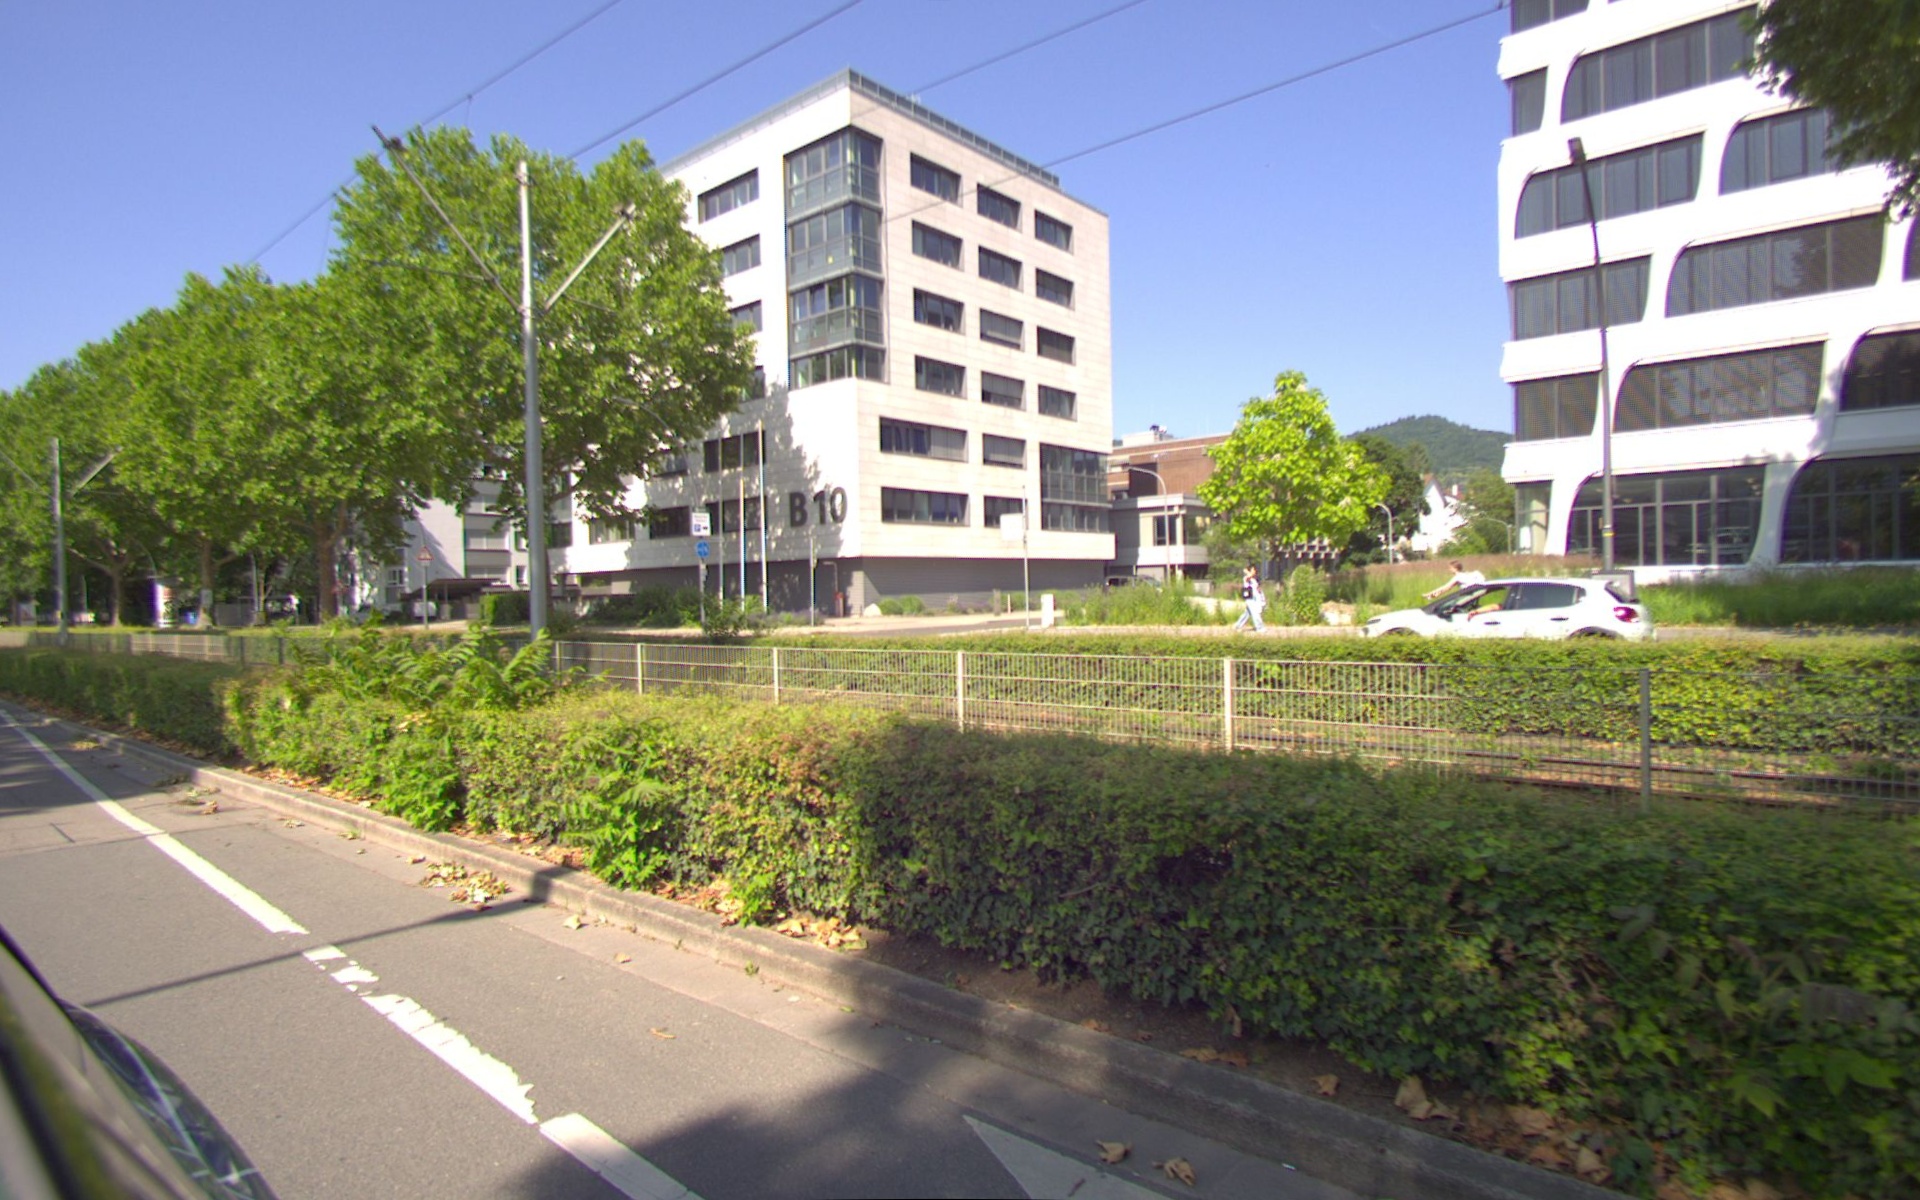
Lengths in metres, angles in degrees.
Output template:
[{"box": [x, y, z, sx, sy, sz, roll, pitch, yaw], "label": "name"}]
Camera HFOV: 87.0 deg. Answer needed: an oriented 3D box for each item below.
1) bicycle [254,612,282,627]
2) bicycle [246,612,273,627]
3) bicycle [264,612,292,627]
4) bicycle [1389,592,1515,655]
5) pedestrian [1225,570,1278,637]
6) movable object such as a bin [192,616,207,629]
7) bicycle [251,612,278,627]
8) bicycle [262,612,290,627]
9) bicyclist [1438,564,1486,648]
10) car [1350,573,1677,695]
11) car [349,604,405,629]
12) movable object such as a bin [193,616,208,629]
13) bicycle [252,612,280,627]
[{"box": [-54.853, 1.551, 80.186, 0.421, 1.111, 1.749, -2, 0, 38], "label": "bicycle"}, {"box": [-56.367, 1.582, 81.471, 0.421, 1.111, 1.749, -2, 0, 38], "label": "bicycle"}, {"box": [-53.252, 1.517, 79.082, 0.421, 1.111, 1.749, -2, 0, 38], "label": "bicycle"}, {"box": [9.335, 0.440, 19.258, 2.029, 1.132, 0.657, -1, 1, 41], "label": "bicycle"}, {"box": [7.141, 0.074, 24.826, 1.014, 1.600, 0.713, -1, 1, 41], "label": "pedestrian"}, {"box": [-64.749, 1.899, 86.156, 0.545, 1.044, 0.887, -2, 0, 38], "label": "movable object such as a bin"}, {"box": [-55.526, 1.565, 80.784, 0.421, 1.111, 1.749, -2, 0, 38], "label": "bicycle"}, {"box": [-53.643, 1.525, 79.389, 0.421, 1.111, 1.749, -2, 0, 38], "label": "bicycle"}, {"box": [9.480, 0.113, 19.107, 0.640, 1.546, 0.648, -2, 0, 41], "label": "bicyclist"}, {"box": [8.184, 0.462, 15.164, 4.016, 1.581, 1.738, -1, 1, 41], "label": "car"}, {"box": [-38.439, 1.113, 66.703, 4.344, 1.561, 1.725, -2, 0, 39], "label": "car"}, {"box": [-64.333, 1.881, 85.771, 0.545, 1.044, 0.887, -2, 0, 38], "label": "movable object such as a bin"}, {"box": [-55.189, 1.558, 80.467, 0.421, 1.111, 1.749, -2, 0, 38], "label": "bicycle"}]
